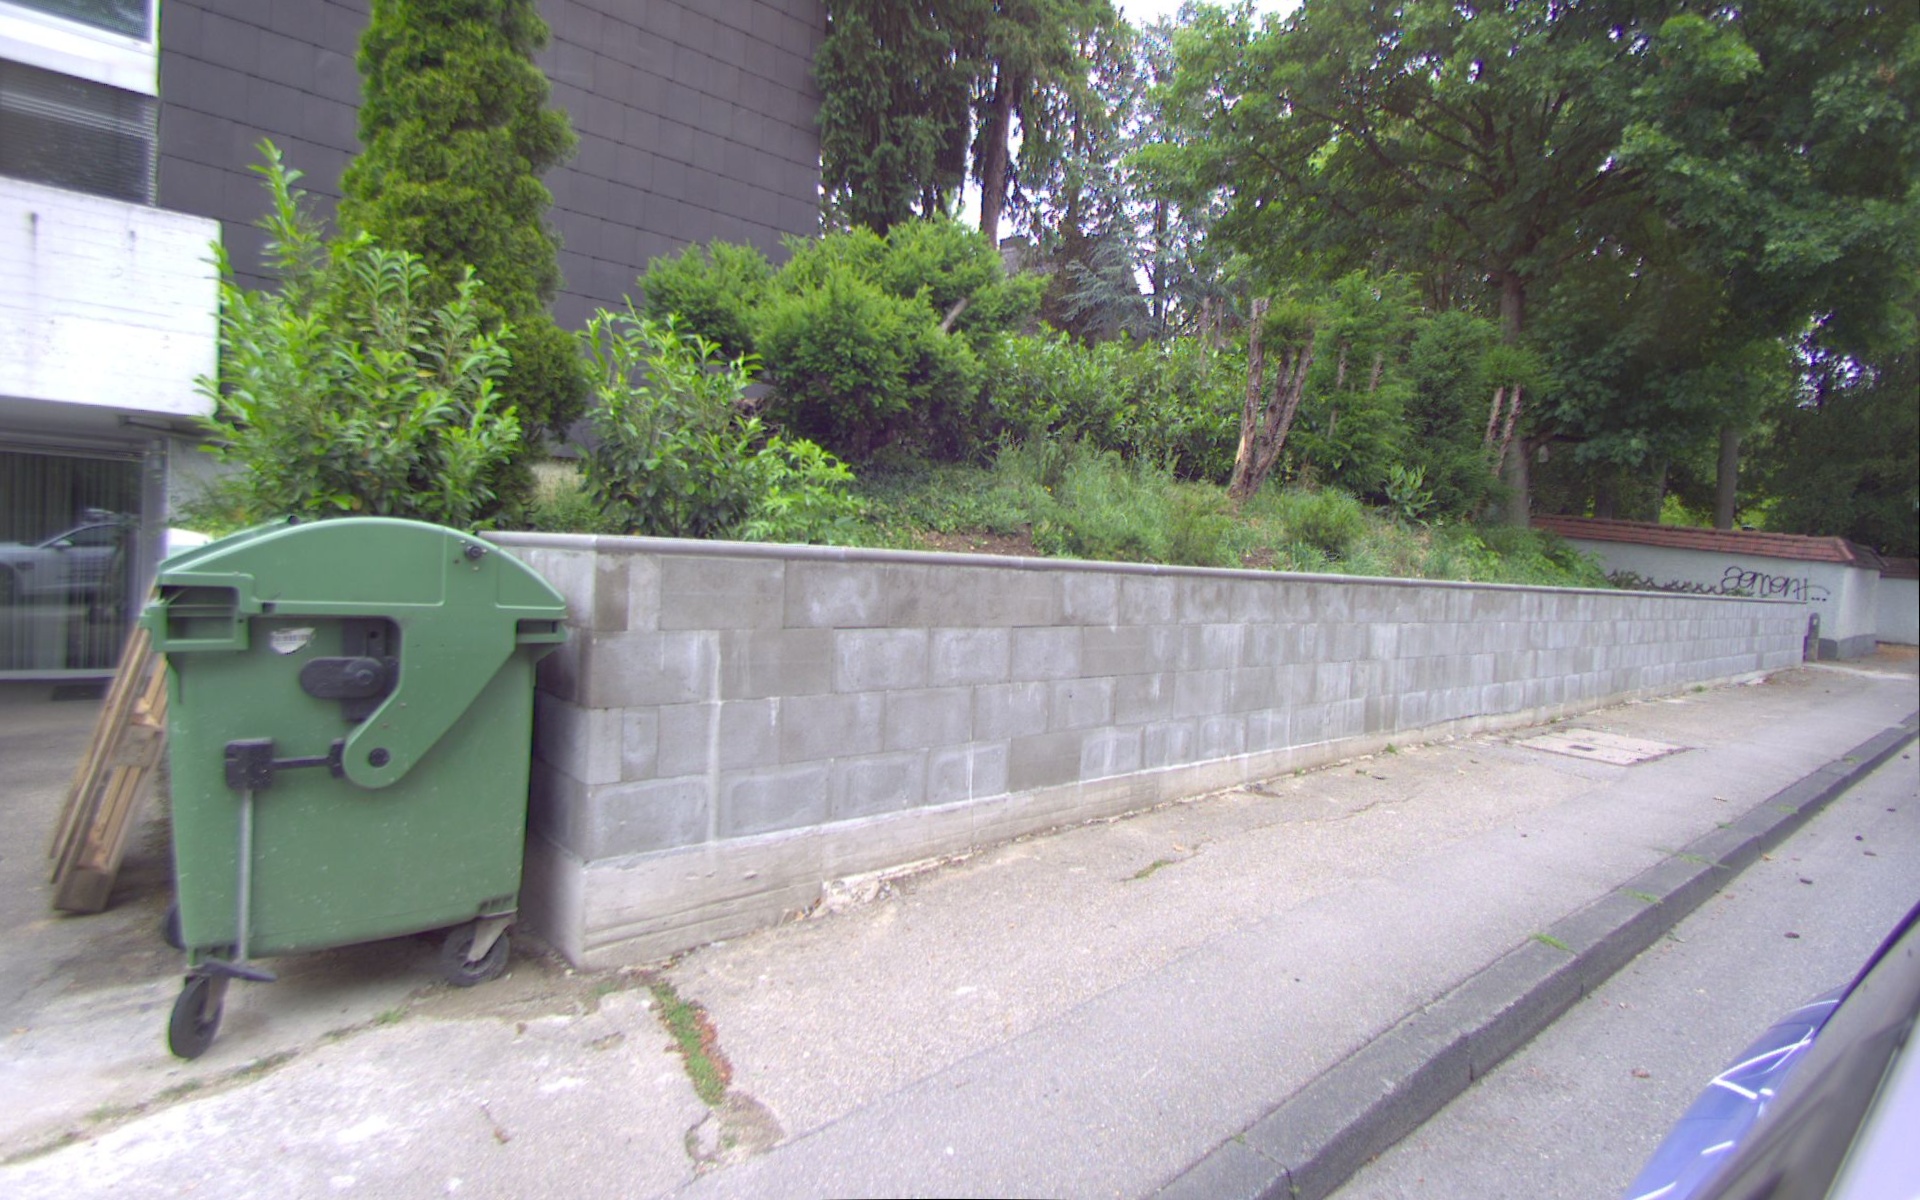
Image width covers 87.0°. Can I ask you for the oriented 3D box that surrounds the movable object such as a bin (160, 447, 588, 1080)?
[{"bbox_3d":[-1.867,0.378,3.190,1.014,1.549,1.037,0,2,-39],"label":"movable object such as a bin"}]
